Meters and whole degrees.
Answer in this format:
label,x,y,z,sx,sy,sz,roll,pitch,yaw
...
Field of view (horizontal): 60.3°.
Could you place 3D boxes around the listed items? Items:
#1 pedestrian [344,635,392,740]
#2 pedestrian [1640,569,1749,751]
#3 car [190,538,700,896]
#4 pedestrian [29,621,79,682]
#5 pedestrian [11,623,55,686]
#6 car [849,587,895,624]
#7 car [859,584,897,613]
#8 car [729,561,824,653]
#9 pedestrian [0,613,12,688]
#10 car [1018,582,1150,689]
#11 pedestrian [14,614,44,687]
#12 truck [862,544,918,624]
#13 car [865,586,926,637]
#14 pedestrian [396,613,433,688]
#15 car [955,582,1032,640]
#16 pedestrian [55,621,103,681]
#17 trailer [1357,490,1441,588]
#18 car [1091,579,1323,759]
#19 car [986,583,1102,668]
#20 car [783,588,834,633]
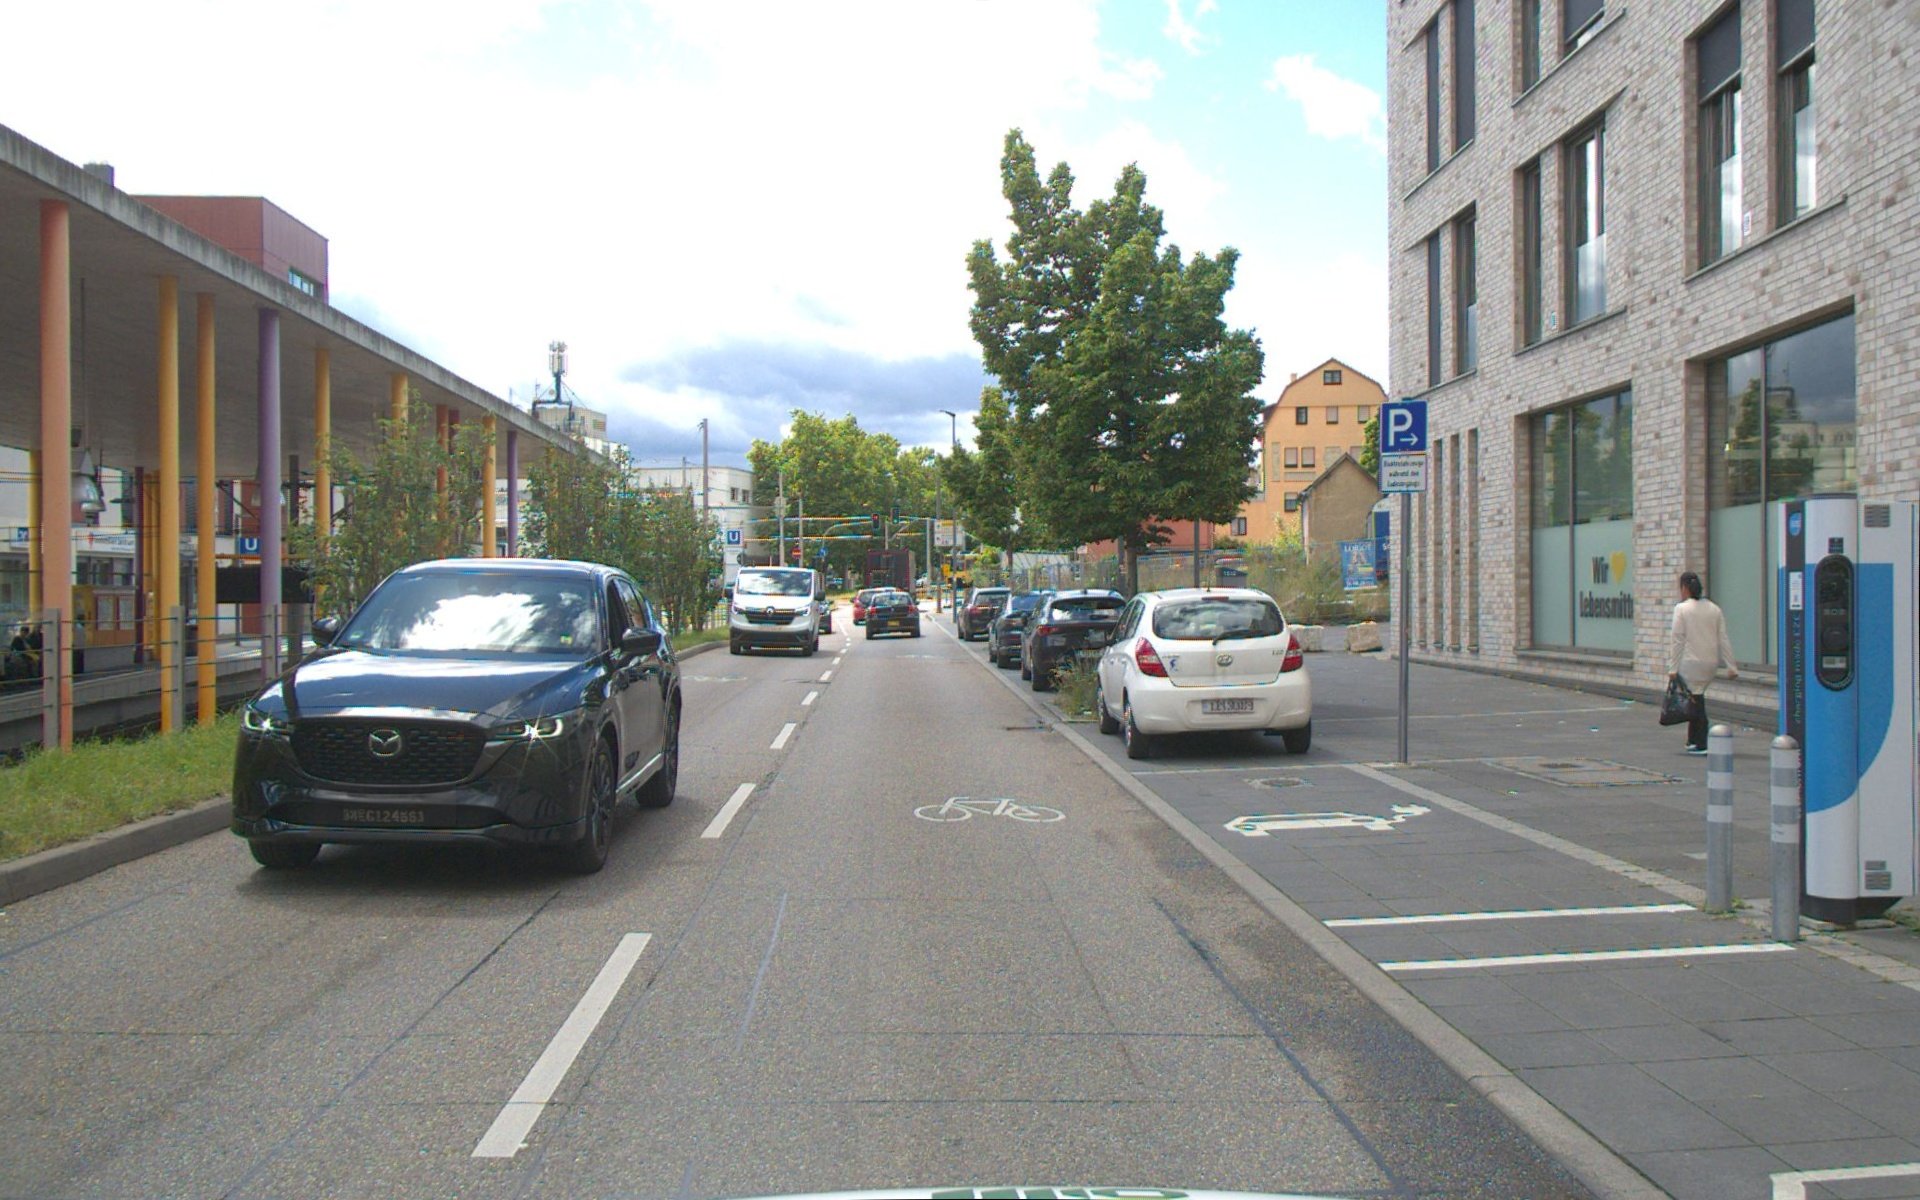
label,x,y,z,sx,sy,sz,roll,pitch,yaw
pedestrian,-10.702,1.576,29.935,0.575,1.862,0.710,1,-2,-1
pedestrian,6.266,0.495,14.139,0.594,1.498,0.791,-2,0,6
car,-2.729,0.537,9.939,1.881,1.633,4.623,1,0,-4
pedestrian,-21.490,1.223,39.246,0.806,1.403,0.702,1,1,-2
pedestrian,-21.500,1.257,38.371,0.638,1.403,0.702,1,1,-2
car,-3.745,0.209,69.868,1.679,1.417,3.804,-1,1,-6
car,-4.304,-0.068,87.567,1.850,1.491,4.068,-2,0,-1
car,-4.153,0.147,38.144,1.964,1.950,5.060,1,0,-4
pedestrian,-24.063,1.257,41.341,0.473,1.852,0.491,1,1,-5
car,1.857,0.493,25.852,1.658,1.486,4.146,-2,0,-1
pedestrian,-23.349,1.258,41.489,0.473,1.806,0.491,1,1,-5
truck,-4.193,-0.872,101.387,3.138,4.615,9.026,0,-1,-1
car,-2.074,0.322,52.108,1.693,1.482,3.805,-1,1,-5
pedestrian,-12.235,1.134,37.088,0.616,1.642,0.636,1,1,-2
car,0.899,0.275,47.004,1.747,1.477,4.473,-2,1,-4
pedestrian,-21.446,1.242,40.268,0.806,1.403,0.702,1,1,-2
trailer,15.490,-2.086,58.629,2.353,3.176,6.166,-2,0,11
car,2.306,0.588,16.321,1.658,1.509,3.797,-2,0,0
car,1.556,0.440,32.286,1.827,1.476,4.641,-2,0,-2
car,-5.551,0.354,60.266,1.692,1.548,4.248,2,0,-7
